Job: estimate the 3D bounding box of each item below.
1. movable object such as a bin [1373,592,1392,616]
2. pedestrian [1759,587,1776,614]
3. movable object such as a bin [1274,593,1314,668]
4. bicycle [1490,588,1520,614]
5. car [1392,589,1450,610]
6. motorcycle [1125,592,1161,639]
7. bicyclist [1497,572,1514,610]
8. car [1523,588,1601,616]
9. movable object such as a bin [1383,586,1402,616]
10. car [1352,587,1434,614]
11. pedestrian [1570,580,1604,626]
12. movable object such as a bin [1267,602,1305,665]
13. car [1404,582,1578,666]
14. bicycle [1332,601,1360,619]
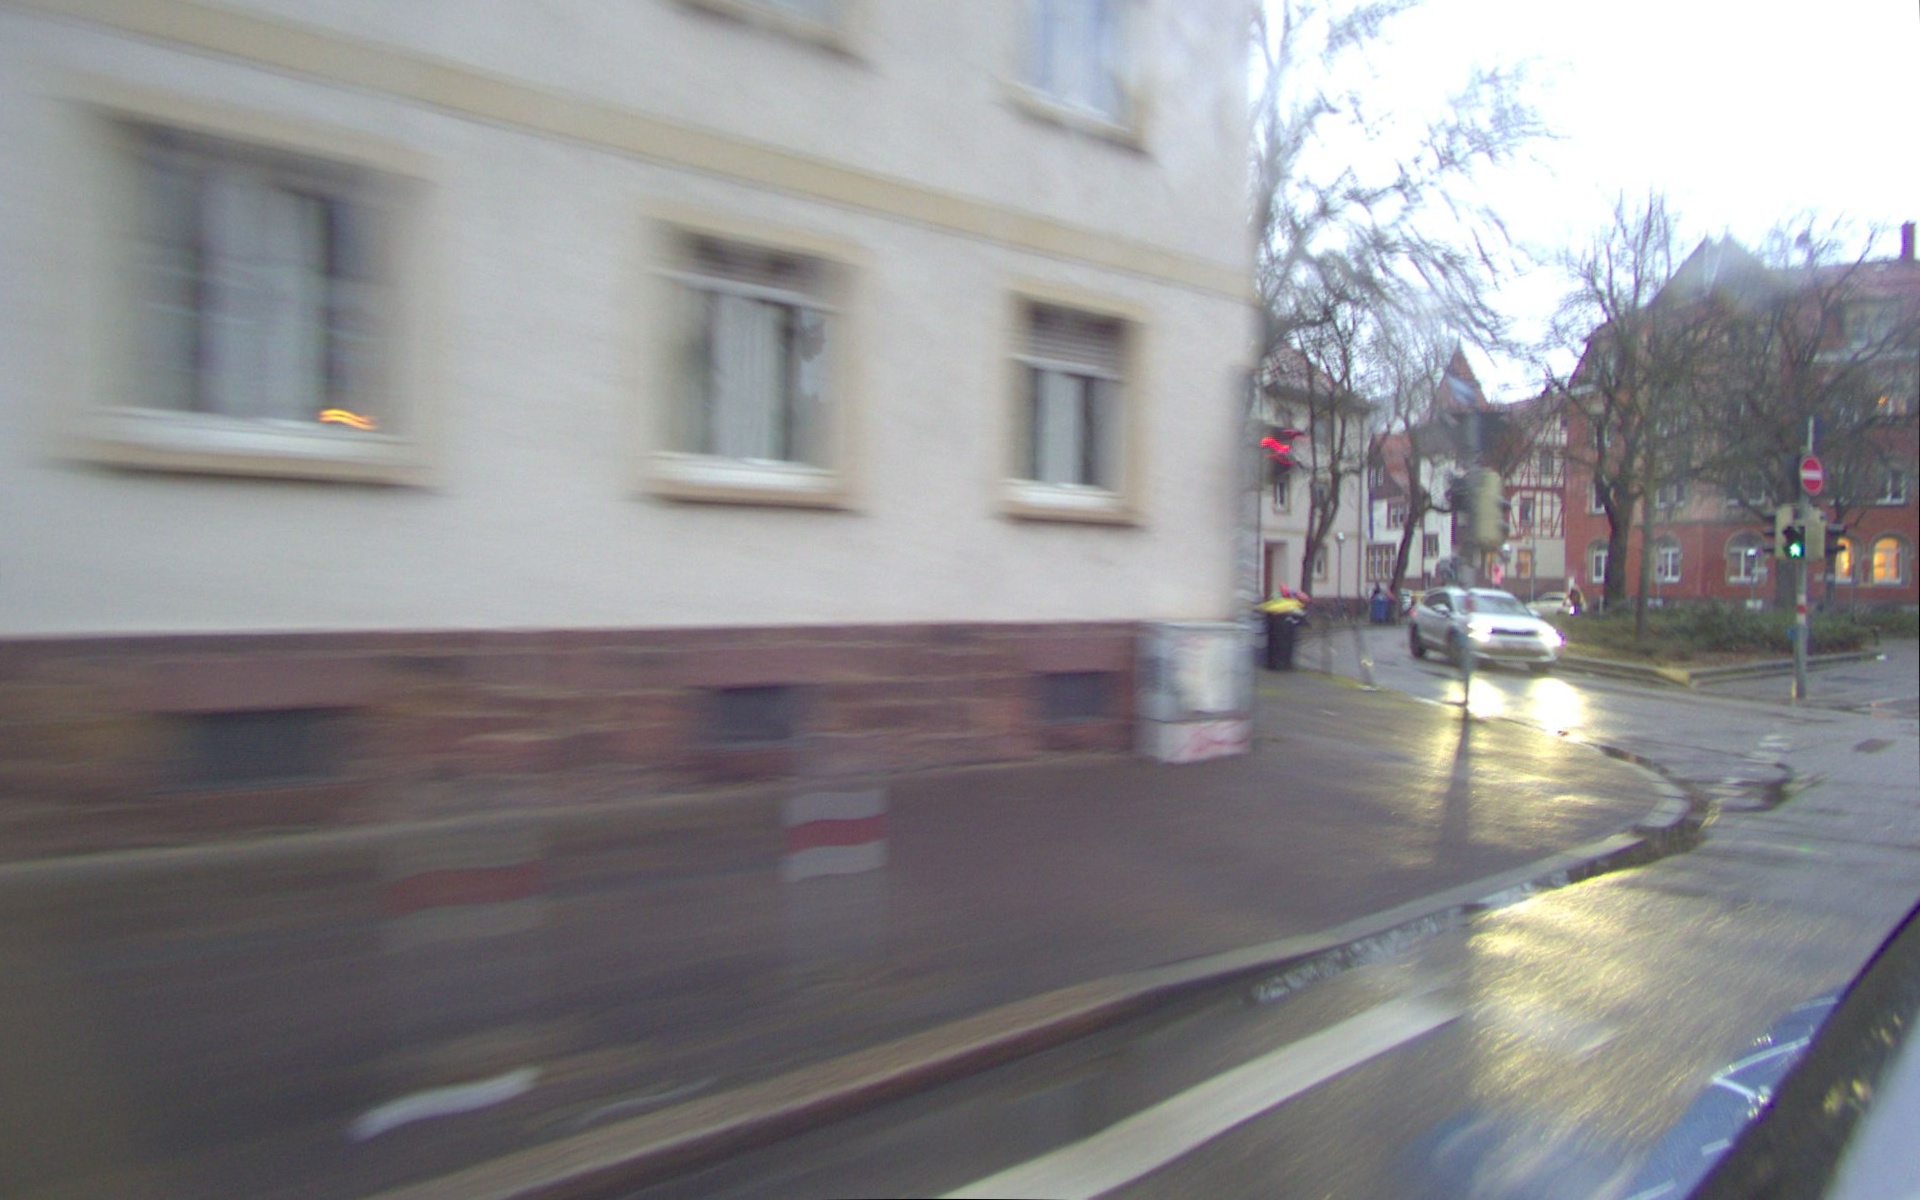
[{"bbox_3d":[17.913,0.164,42.916,0.640,0.993,0.527,0,1,-44],"label":"movable object such as a bin"},{"bbox_3d":[39.616,0.019,49.637,0.598,1.333,0.545,1,-2,-44],"label":"pedestrian"},{"bbox_3d":[5.838,0.536,17.716,0.514,1.268,0.851,-2,-2,10],"label":"movable object such as a bin"},{"bbox_3d":[27.471,0.029,50.983,1.876,1.307,0.468,0,0,-32],"label":"bicycle"},{"bbox_3d":[32.786,-0.054,72.079,1.613,1.415,4.008,1,1,-12],"label":"car"},{"bbox_3d":[4.679,0.372,25.780,0.563,1.119,1.591,3,1,22],"label":"motorcycle"},{"bbox_3d":[27.459,-0.440,50.974,0.666,1.910,0.468,0,0,-32],"label":"bicyclist"},{"bbox_3d":[35.137,0.099,59.217,1.613,1.514,4.008,1,1,-12],"label":"car"},{"bbox_3d":[18.506,0.041,43.286,0.640,1.244,0.527,0,0,-44],"label":"movable object such as a bin"},{"bbox_3d":[25.018,-0.004,58.531,3.921,1.504,1.852,0,0,-3],"label":"car"},{"bbox_3d":[25.785,0.114,41.640,0.798,1.887,0.879,0,0,-5],"label":"pedestrian"},{"bbox_3d":[5.969,0.614,18.533,0.530,1.134,0.699,-2,-2,11],"label":"movable object such as a bin"},{"bbox_3d":[11.272,0.417,21.908,1.868,1.528,4.742,1,2,9],"label":"car"},{"bbox_3d":[16.718,0.428,43.824,1.559,0.775,0.340,0,1,-35],"label":"bicycle"}]
